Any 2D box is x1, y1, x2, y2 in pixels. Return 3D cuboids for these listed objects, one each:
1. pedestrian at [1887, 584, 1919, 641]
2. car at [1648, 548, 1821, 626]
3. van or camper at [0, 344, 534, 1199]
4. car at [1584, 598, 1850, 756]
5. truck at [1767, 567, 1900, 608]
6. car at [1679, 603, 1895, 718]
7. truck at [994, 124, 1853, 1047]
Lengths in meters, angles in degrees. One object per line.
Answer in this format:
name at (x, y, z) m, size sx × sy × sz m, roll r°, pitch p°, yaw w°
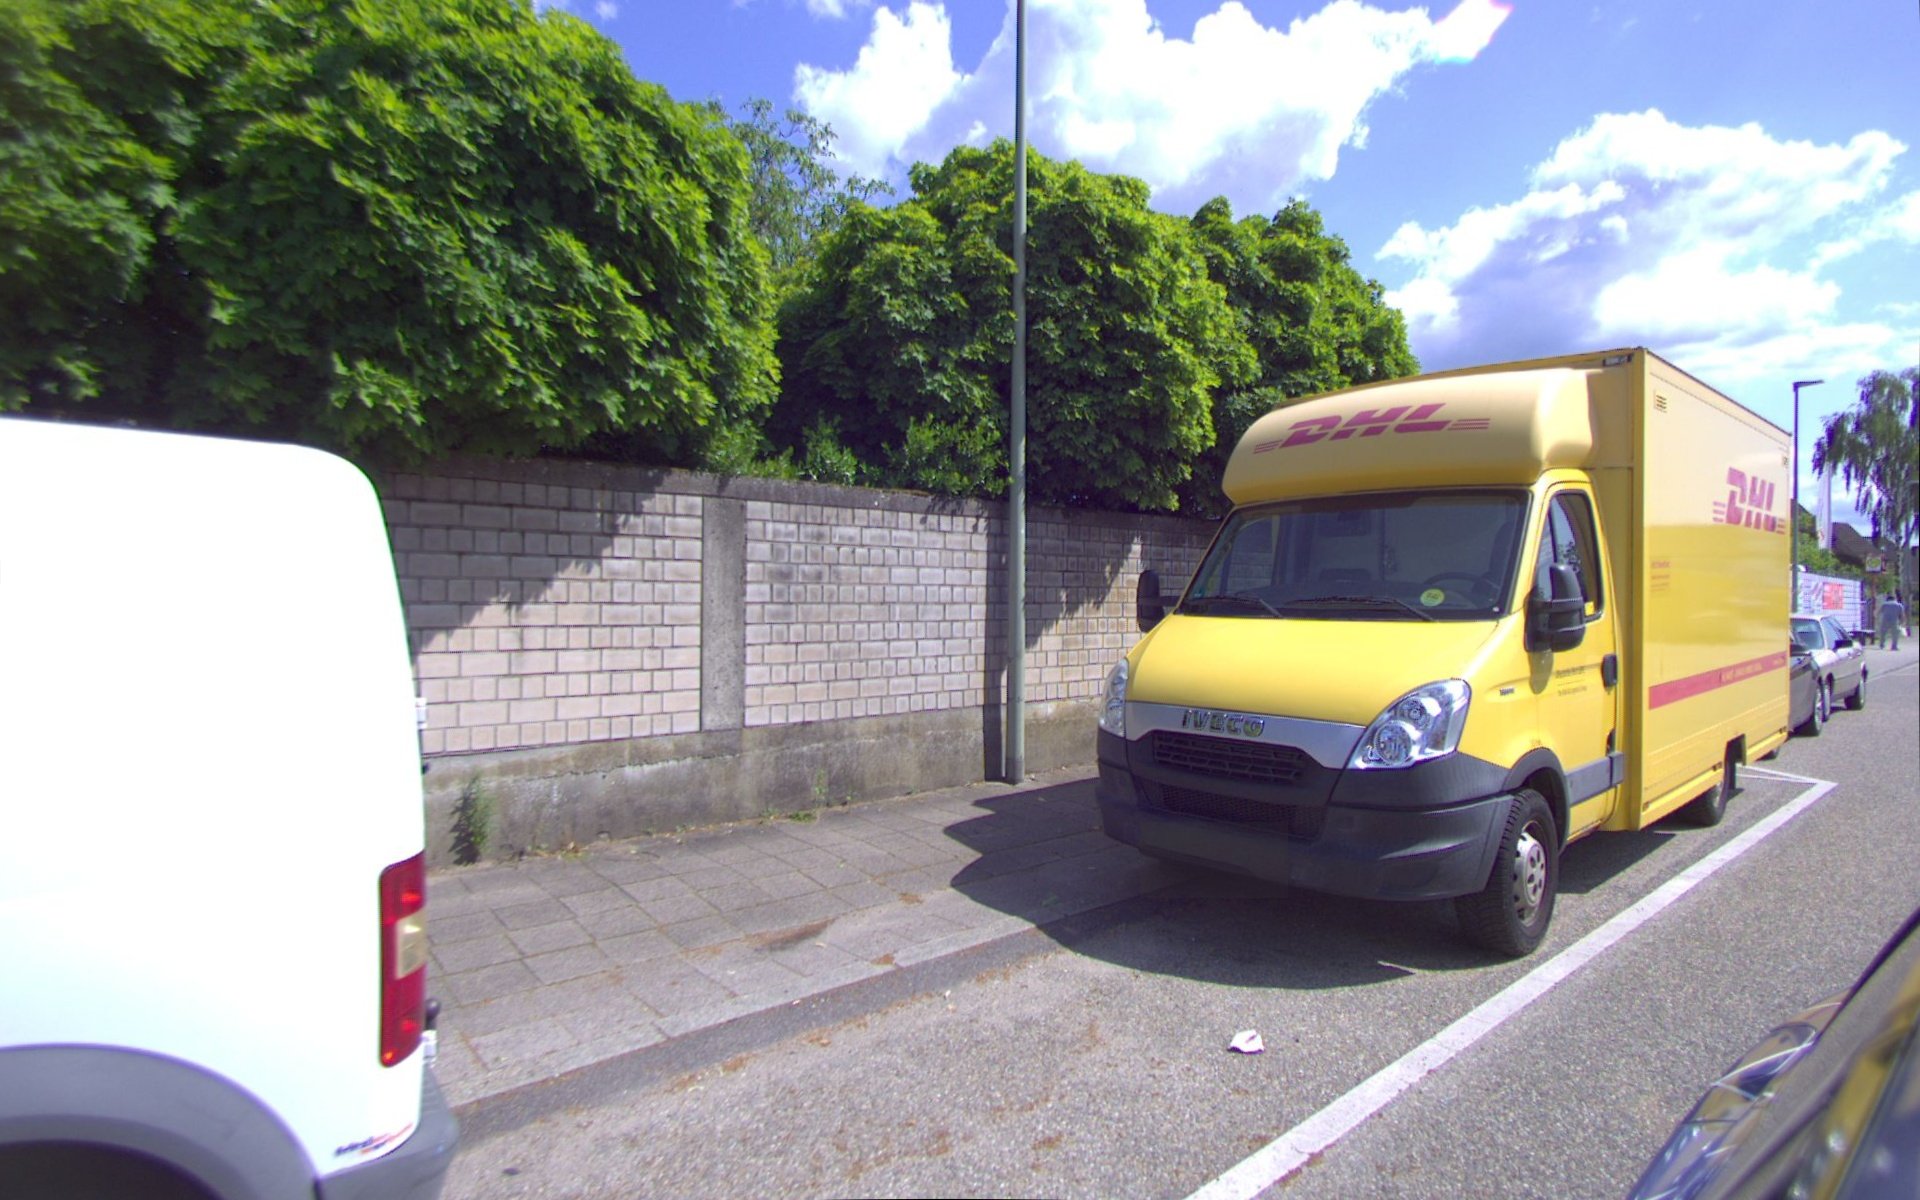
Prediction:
pedestrian at (29.895, 0.394, 31.965) m, size 0.514 × 1.717 × 0.716 m, roll 0°, pitch 6°, yaw -45°
car at (28.230, -0.486, 36.989) m, size 4.904 × 2.685 × 2.042 m, roll 1°, pitch 1°, yaw 42°
van or camper at (-3.437, 0.571, 0.771) m, size 5.488 × 1.828 × 1.762 m, roll 0°, pitch 0°, yaw -40°
car at (8.676, 0.717, 11.463) m, size 4.210 × 1.459 × 1.664 m, roll 0°, pitch -1°, yaw -43°
truck at (56.655, -0.789, 65.833) m, size 5.992 × 2.610 × 2.546 m, roll 0°, pitch 0°, yaw 24°
car at (12.017, 0.759, 14.601) m, size 4.345 × 1.404 × 1.654 m, roll 0°, pitch -1°, yaw -41°
truck at (3.617, -0.060, 6.572) m, size 7.065 × 2.978 × 2.477 m, roll 0°, pitch -1°, yaw -42°
